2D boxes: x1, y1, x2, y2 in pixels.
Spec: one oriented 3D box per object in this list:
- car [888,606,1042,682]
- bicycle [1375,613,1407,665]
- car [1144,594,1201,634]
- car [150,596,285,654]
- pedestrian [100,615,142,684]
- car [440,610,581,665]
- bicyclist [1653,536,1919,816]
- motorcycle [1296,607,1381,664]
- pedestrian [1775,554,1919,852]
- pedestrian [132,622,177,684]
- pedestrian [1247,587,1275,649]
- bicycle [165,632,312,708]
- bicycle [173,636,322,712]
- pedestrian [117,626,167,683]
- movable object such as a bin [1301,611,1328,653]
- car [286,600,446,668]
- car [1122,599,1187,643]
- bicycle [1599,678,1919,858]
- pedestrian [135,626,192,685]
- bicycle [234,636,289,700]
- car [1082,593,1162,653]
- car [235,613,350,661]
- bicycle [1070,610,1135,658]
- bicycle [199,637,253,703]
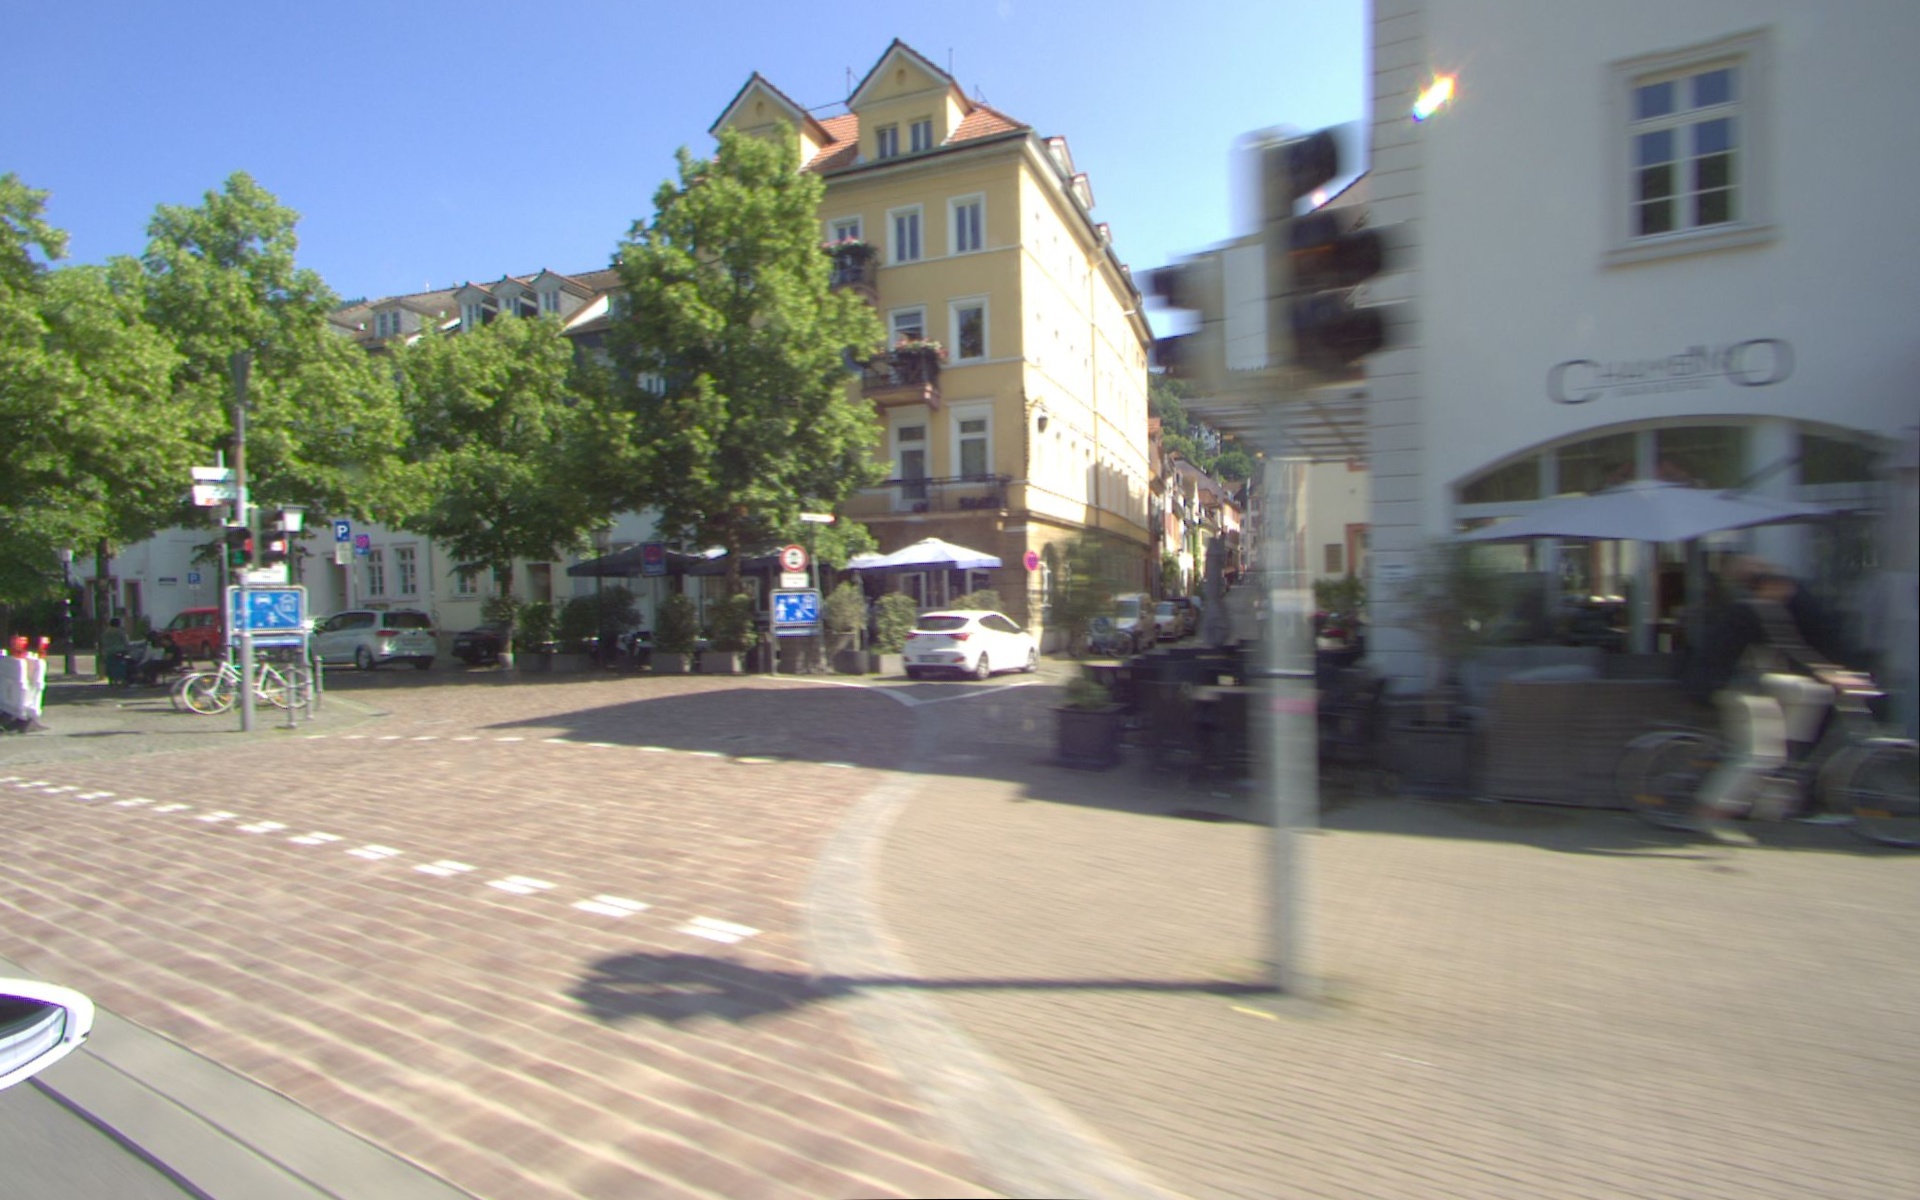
[{"bbox_3d":[0.211,0.900,22.139,1.804,1.475,3.985,1,0,27],"label":"car"},{"bbox_3d":[10.726,0.943,24.948,0.628,1.209,1.876,0,1,20],"label":"bicycle"},{"bbox_3d":[8.929,0.544,41.841,1.818,1.388,3.826,4,3,18],"label":"car"},{"bbox_3d":[-26.213,0.867,35.327,4.561,1.927,1.992,-1,1,28],"label":"car"},{"bbox_3d":[-19.013,1.109,22.694,0.679,1.537,0.459,-1,0,22],"label":"pedestrian"},{"bbox_3d":[-13.562,1.082,30.436,1.596,1.452,3.737,1,1,27],"label":"car"},{"bbox_3d":[5.102,0.447,6.252,1.069,1.604,0.768,-1,1,16],"label":"bicyclist"},{"bbox_3d":[9.661,0.877,25.519,2.295,1.300,0.760,-3,1,-32],"label":"motorcycle"},{"bbox_3d":[5.998,0.644,6.722,0.599,1.884,0.762,-1,3,22],"label":"pedestrian"},{"bbox_3d":[-18.502,1.199,23.012,0.532,1.400,0.626,-1,-1,22],"label":"pedestrian"},{"bbox_3d":[9.134,0.541,30.386,0.751,1.824,0.693,-1,3,22],"label":"pedestrian"},{"bbox_3d":[-12.356,1.168,17.213,0.515,1.214,2.002,0,0,41],"label":"bicycle"},{"bbox_3d":[-11.971,1.212,16.889,0.515,1.214,1.989,0,-1,41],"label":"bicycle"},{"bbox_3d":[-19.065,1.270,23.336,0.741,1.298,0.626,-1,-1,22],"label":"pedestrian"},{"bbox_3d":[9.936,0.893,28.056,0.589,1.121,0.667,-1,1,30],"label":"movable object such as a bin"},{"bbox_3d":[-16.422,0.903,27.643,4.498,1.751,1.767,-1,0,29],"label":"car"},{"bbox_3d":[7.301,0.735,37.307,1.818,1.388,3.826,4,3,18],"label":"car"},{"bbox_3d":[5.119,1.003,6.243,1.750,0.976,0.751,-1,0,17],"label":"bicycle"},{"bbox_3d":[-17.907,1.231,22.514,0.751,1.269,0.694,-1,1,22],"label":"pedestrian"},{"bbox_3d":[-12.912,1.223,18.479,0.589,1.081,2.047,-3,1,-41],"label":"bicycle"},{"bbox_3d":[5.194,0.668,31.698,1.818,1.618,3.991,4,3,18],"label":"car"},{"bbox_3d":[-21.987,1.216,32.994,3.417,1.451,1.673,-2,0,27],"label":"car"},{"bbox_3d":[4.007,0.956,28.180,1.734,1.297,0.656,0,2,19],"label":"bicycle"},{"bbox_3d":[-13.349,1.234,18.196,0.589,1.082,2.047,-3,1,-41],"label":"bicycle"}]
